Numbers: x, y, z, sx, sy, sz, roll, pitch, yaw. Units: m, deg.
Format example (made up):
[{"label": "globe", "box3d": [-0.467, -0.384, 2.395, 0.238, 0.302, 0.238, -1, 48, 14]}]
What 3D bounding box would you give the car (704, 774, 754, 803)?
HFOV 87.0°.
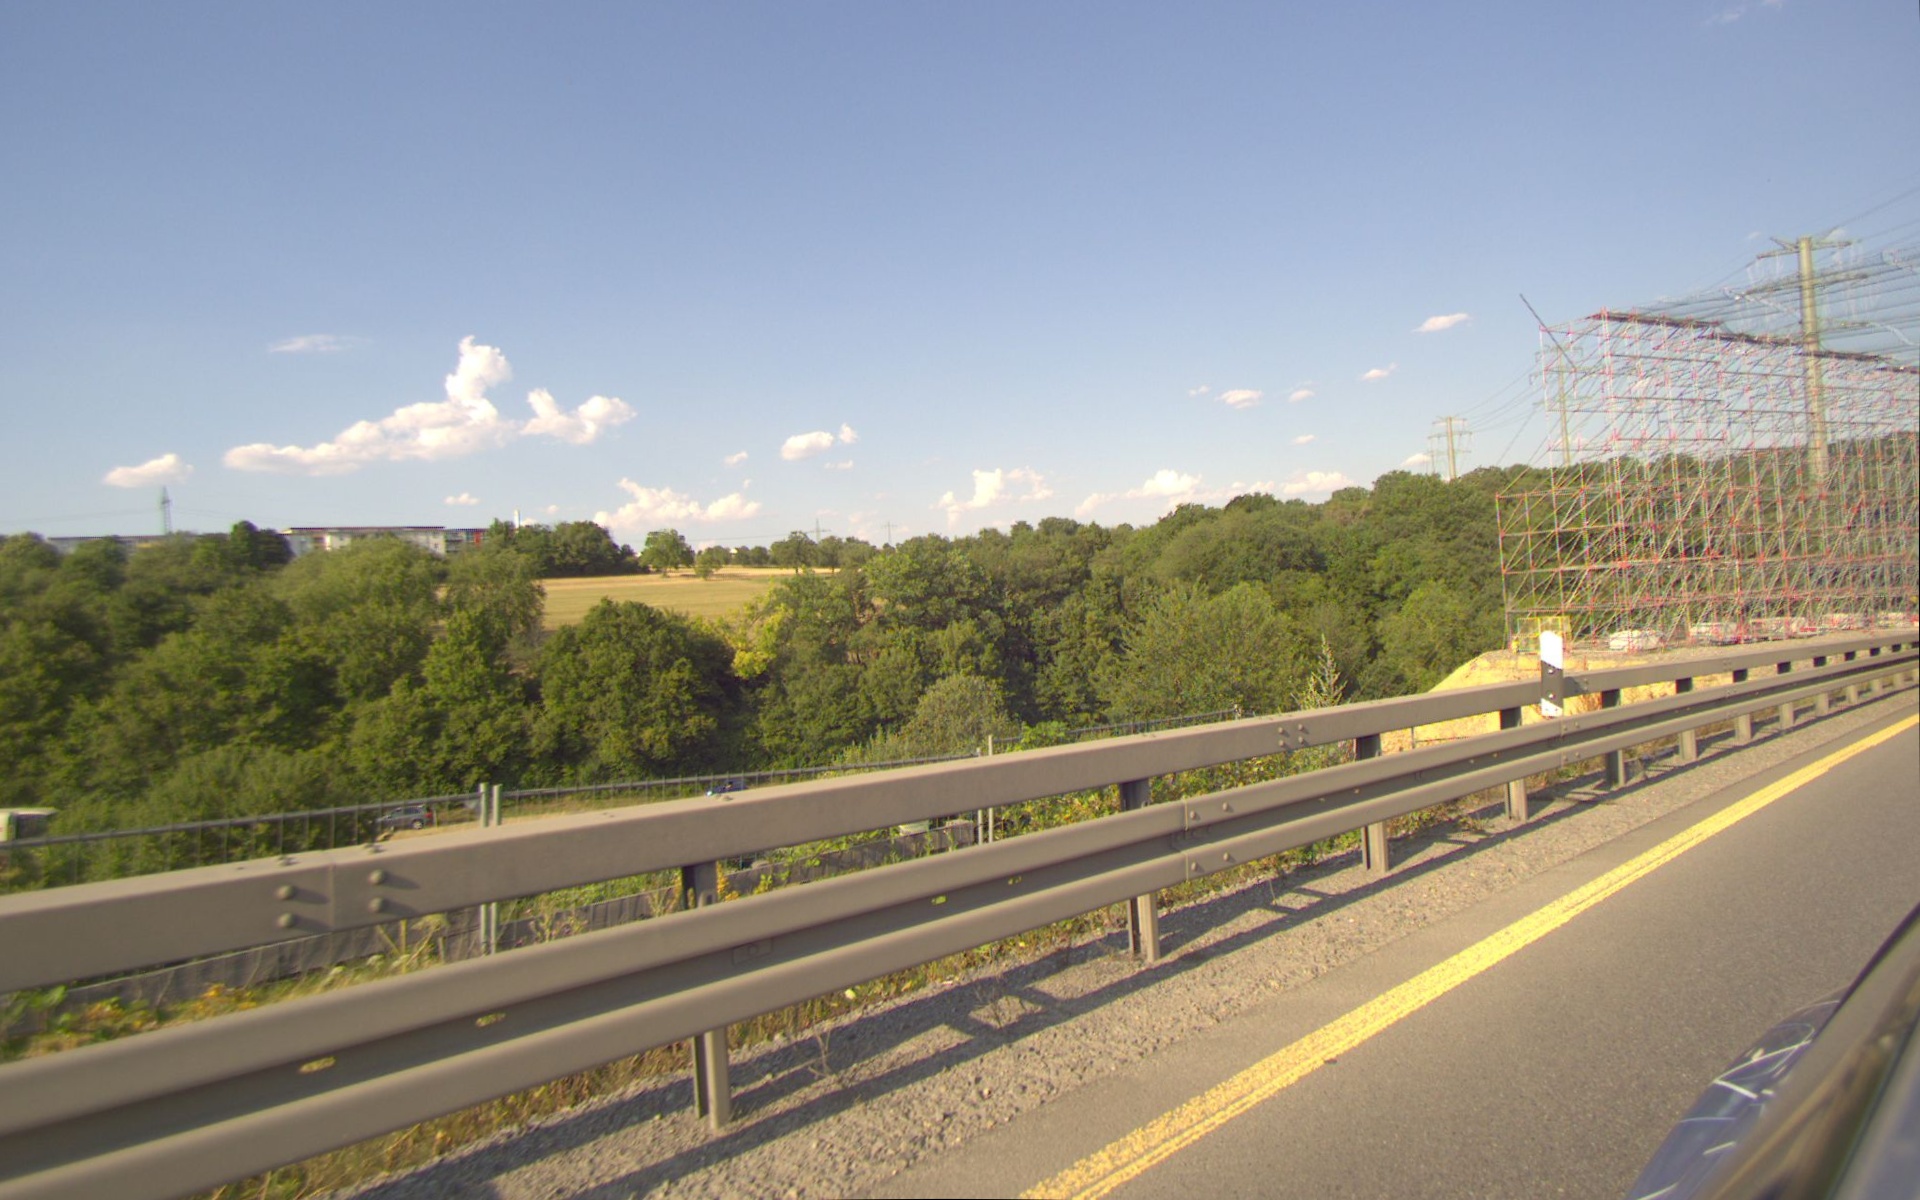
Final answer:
[{"label": "car", "box3d": [-19.796, 16.154, 86.722, 3.916, 1.816, 1.835, 0, 1, -21]}]
